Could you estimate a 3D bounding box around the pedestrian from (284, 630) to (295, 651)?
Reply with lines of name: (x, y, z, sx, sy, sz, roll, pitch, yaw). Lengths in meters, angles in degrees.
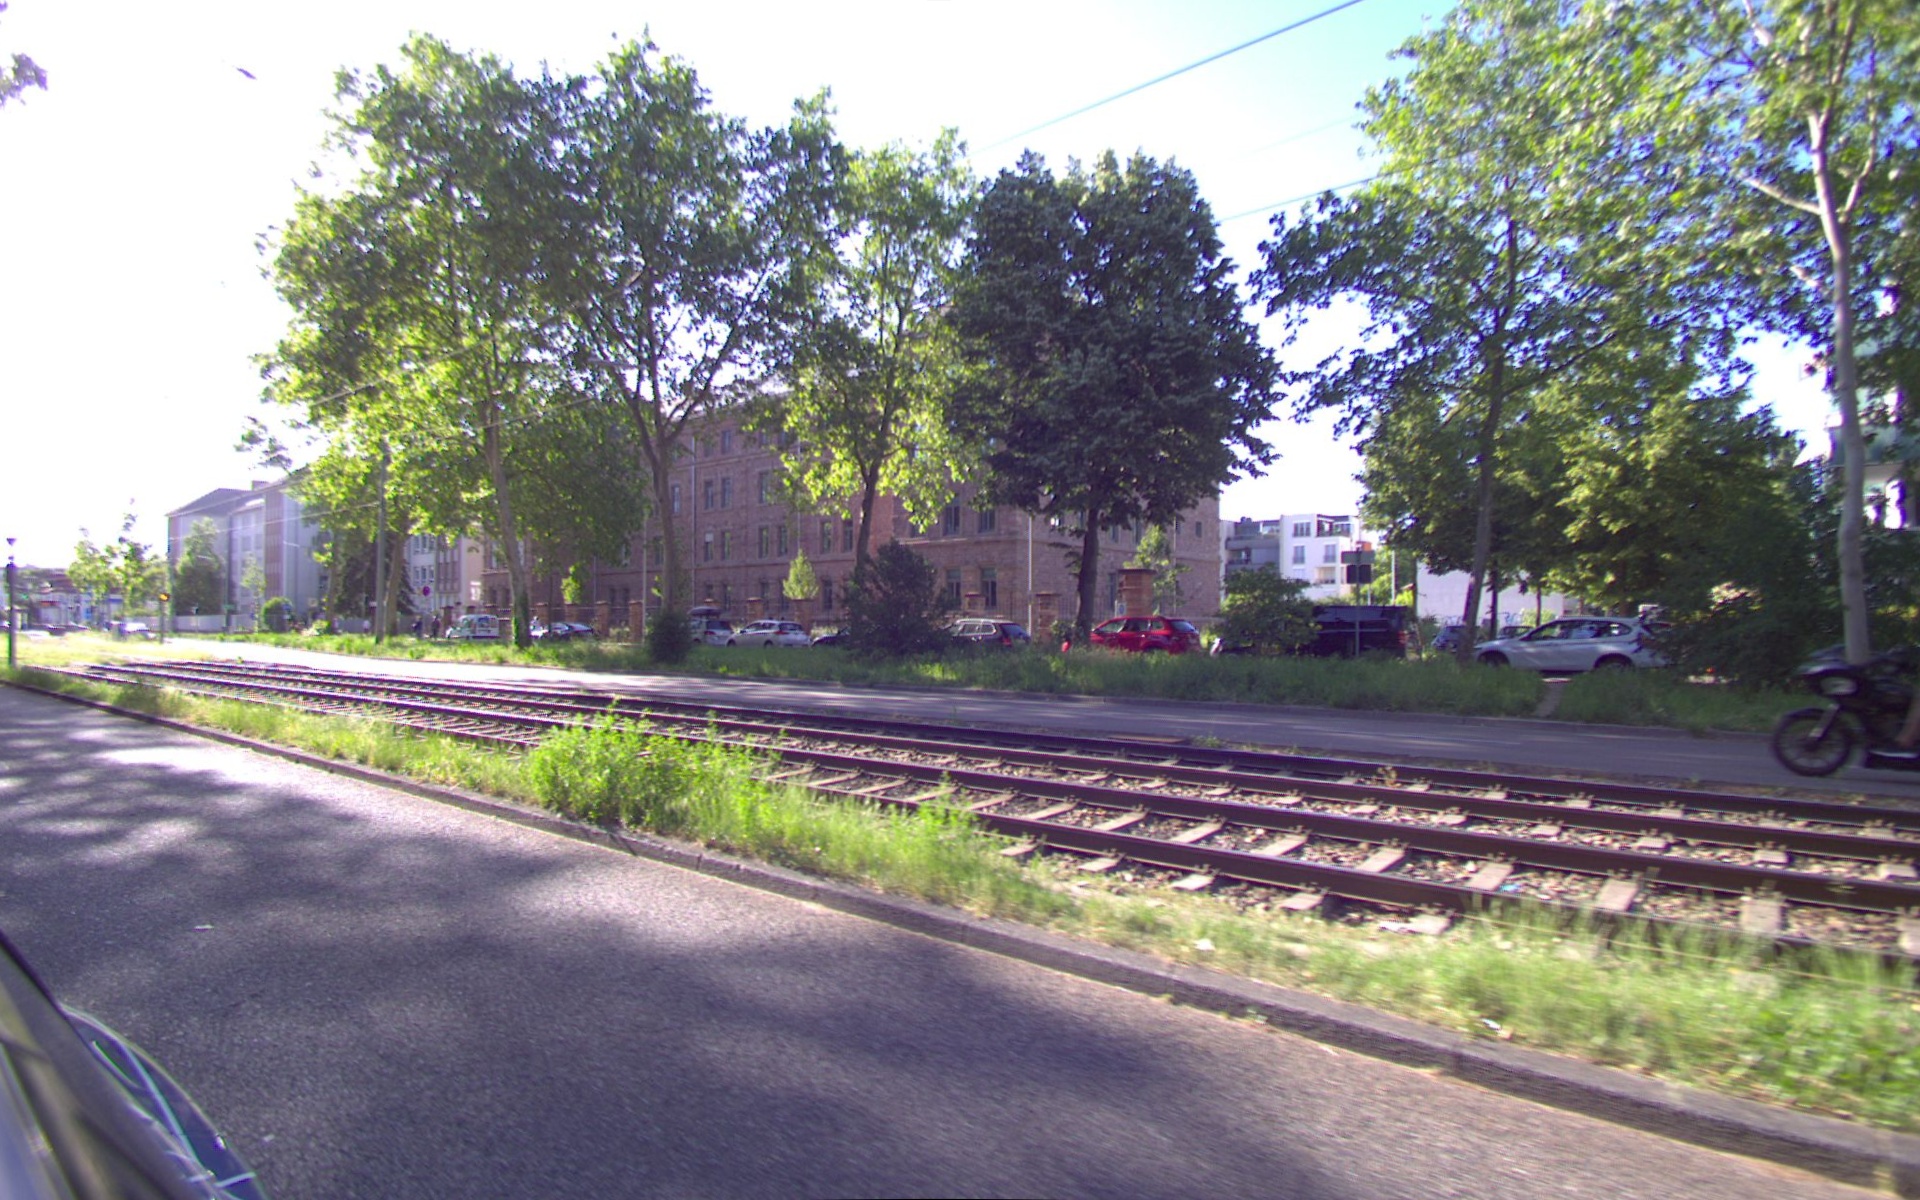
pedestrian: (-63.734, 3.836, 96.232, 0.859, 2.029, 0.656, -2, -3, 39)

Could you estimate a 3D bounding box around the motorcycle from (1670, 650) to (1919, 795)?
motorcycle: (8.494, 1.071, 9.101, 3.349, 1.221, 0.954, -2, -3, 41)

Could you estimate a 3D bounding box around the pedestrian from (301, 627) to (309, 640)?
pedestrian: (-57.442, 2.948, 88.735, 0.586, 1.108, 0.440, -2, -3, 35)

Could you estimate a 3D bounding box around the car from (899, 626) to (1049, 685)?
car: (0.425, 1.830, 33.841, 4.732, 1.823, 2.088, -2, -3, 38)

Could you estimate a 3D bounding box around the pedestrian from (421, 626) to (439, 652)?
pedestrian: (-39.720, 2.942, 75.893, 0.941, 1.914, 0.891, -2, -3, 41)

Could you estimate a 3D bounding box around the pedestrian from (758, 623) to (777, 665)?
pedestrian: (-9.416, 2.134, 49.517, 0.625, 2.029, 0.707, -2, -3, 40)

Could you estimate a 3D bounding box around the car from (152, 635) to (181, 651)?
car: (-89.090, 4.838, 113.641, 4.150, 1.720, 1.971, -2, -3, 44)

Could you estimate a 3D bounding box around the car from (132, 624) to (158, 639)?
car: (-86.716, 3.374, 107.705, 1.745, 1.635, 4.479, 1, -3, -44)

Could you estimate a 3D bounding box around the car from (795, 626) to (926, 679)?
car: (-3.703, 1.921, 37.342, 4.733, 1.823, 2.088, -2, -3, 39)

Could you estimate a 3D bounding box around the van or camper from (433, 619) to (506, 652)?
van or camper: (-28.050, 2.034, 57.815, 4.426, 1.801, 1.974, -2, -3, 38)

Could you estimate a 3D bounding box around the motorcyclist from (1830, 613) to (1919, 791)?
motorcyclist: (8.489, 0.884, 9.092, 0.958, 1.525, 0.934, -2, -3, 40)

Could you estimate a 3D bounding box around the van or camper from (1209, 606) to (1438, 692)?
van or camper: (9.412, 1.232, 26.468, 5.212, 2.029, 2.243, -1, -2, 40)

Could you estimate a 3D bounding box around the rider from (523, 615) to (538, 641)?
rider: (-28.394, 1.849, 66.907, 0.685, 1.657, 0.721, -2, -3, 40)

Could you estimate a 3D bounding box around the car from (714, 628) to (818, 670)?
car: (-7.894, 1.960, 41.019, 4.421, 1.628, 1.971, -3, -3, 44)

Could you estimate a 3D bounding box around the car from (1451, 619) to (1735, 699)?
car: (14.168, 1.313, 22.962, 2.002, 1.611, 5.096, 4, -4, -40)

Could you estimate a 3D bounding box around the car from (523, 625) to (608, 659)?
car: (-19.991, 2.141, 51.170, 4.823, 1.662, 1.973, -3, -3, 41)

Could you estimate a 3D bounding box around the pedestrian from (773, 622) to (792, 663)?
pedestrian: (-8.810, 2.110, 50.198, 0.625, 2.029, 0.707, -2, -3, 40)

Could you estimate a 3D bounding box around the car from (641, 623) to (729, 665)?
car: (-12.128, 1.936, 44.516, 4.421, 1.732, 1.748, -3, -3, 44)

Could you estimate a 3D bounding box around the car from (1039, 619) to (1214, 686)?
car: (4.905, 1.536, 30.180, 4.733, 1.823, 2.088, -2, -3, 39)

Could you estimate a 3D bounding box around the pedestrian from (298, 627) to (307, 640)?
pedestrian: (-57.877, 2.954, 89.096, 0.478, 1.108, 0.580, -2, -2, 38)

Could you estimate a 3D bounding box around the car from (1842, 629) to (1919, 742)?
car: (18.885, 1.538, 18.388, 4.156, 2.029, 1.974, -2, -2, 39)
